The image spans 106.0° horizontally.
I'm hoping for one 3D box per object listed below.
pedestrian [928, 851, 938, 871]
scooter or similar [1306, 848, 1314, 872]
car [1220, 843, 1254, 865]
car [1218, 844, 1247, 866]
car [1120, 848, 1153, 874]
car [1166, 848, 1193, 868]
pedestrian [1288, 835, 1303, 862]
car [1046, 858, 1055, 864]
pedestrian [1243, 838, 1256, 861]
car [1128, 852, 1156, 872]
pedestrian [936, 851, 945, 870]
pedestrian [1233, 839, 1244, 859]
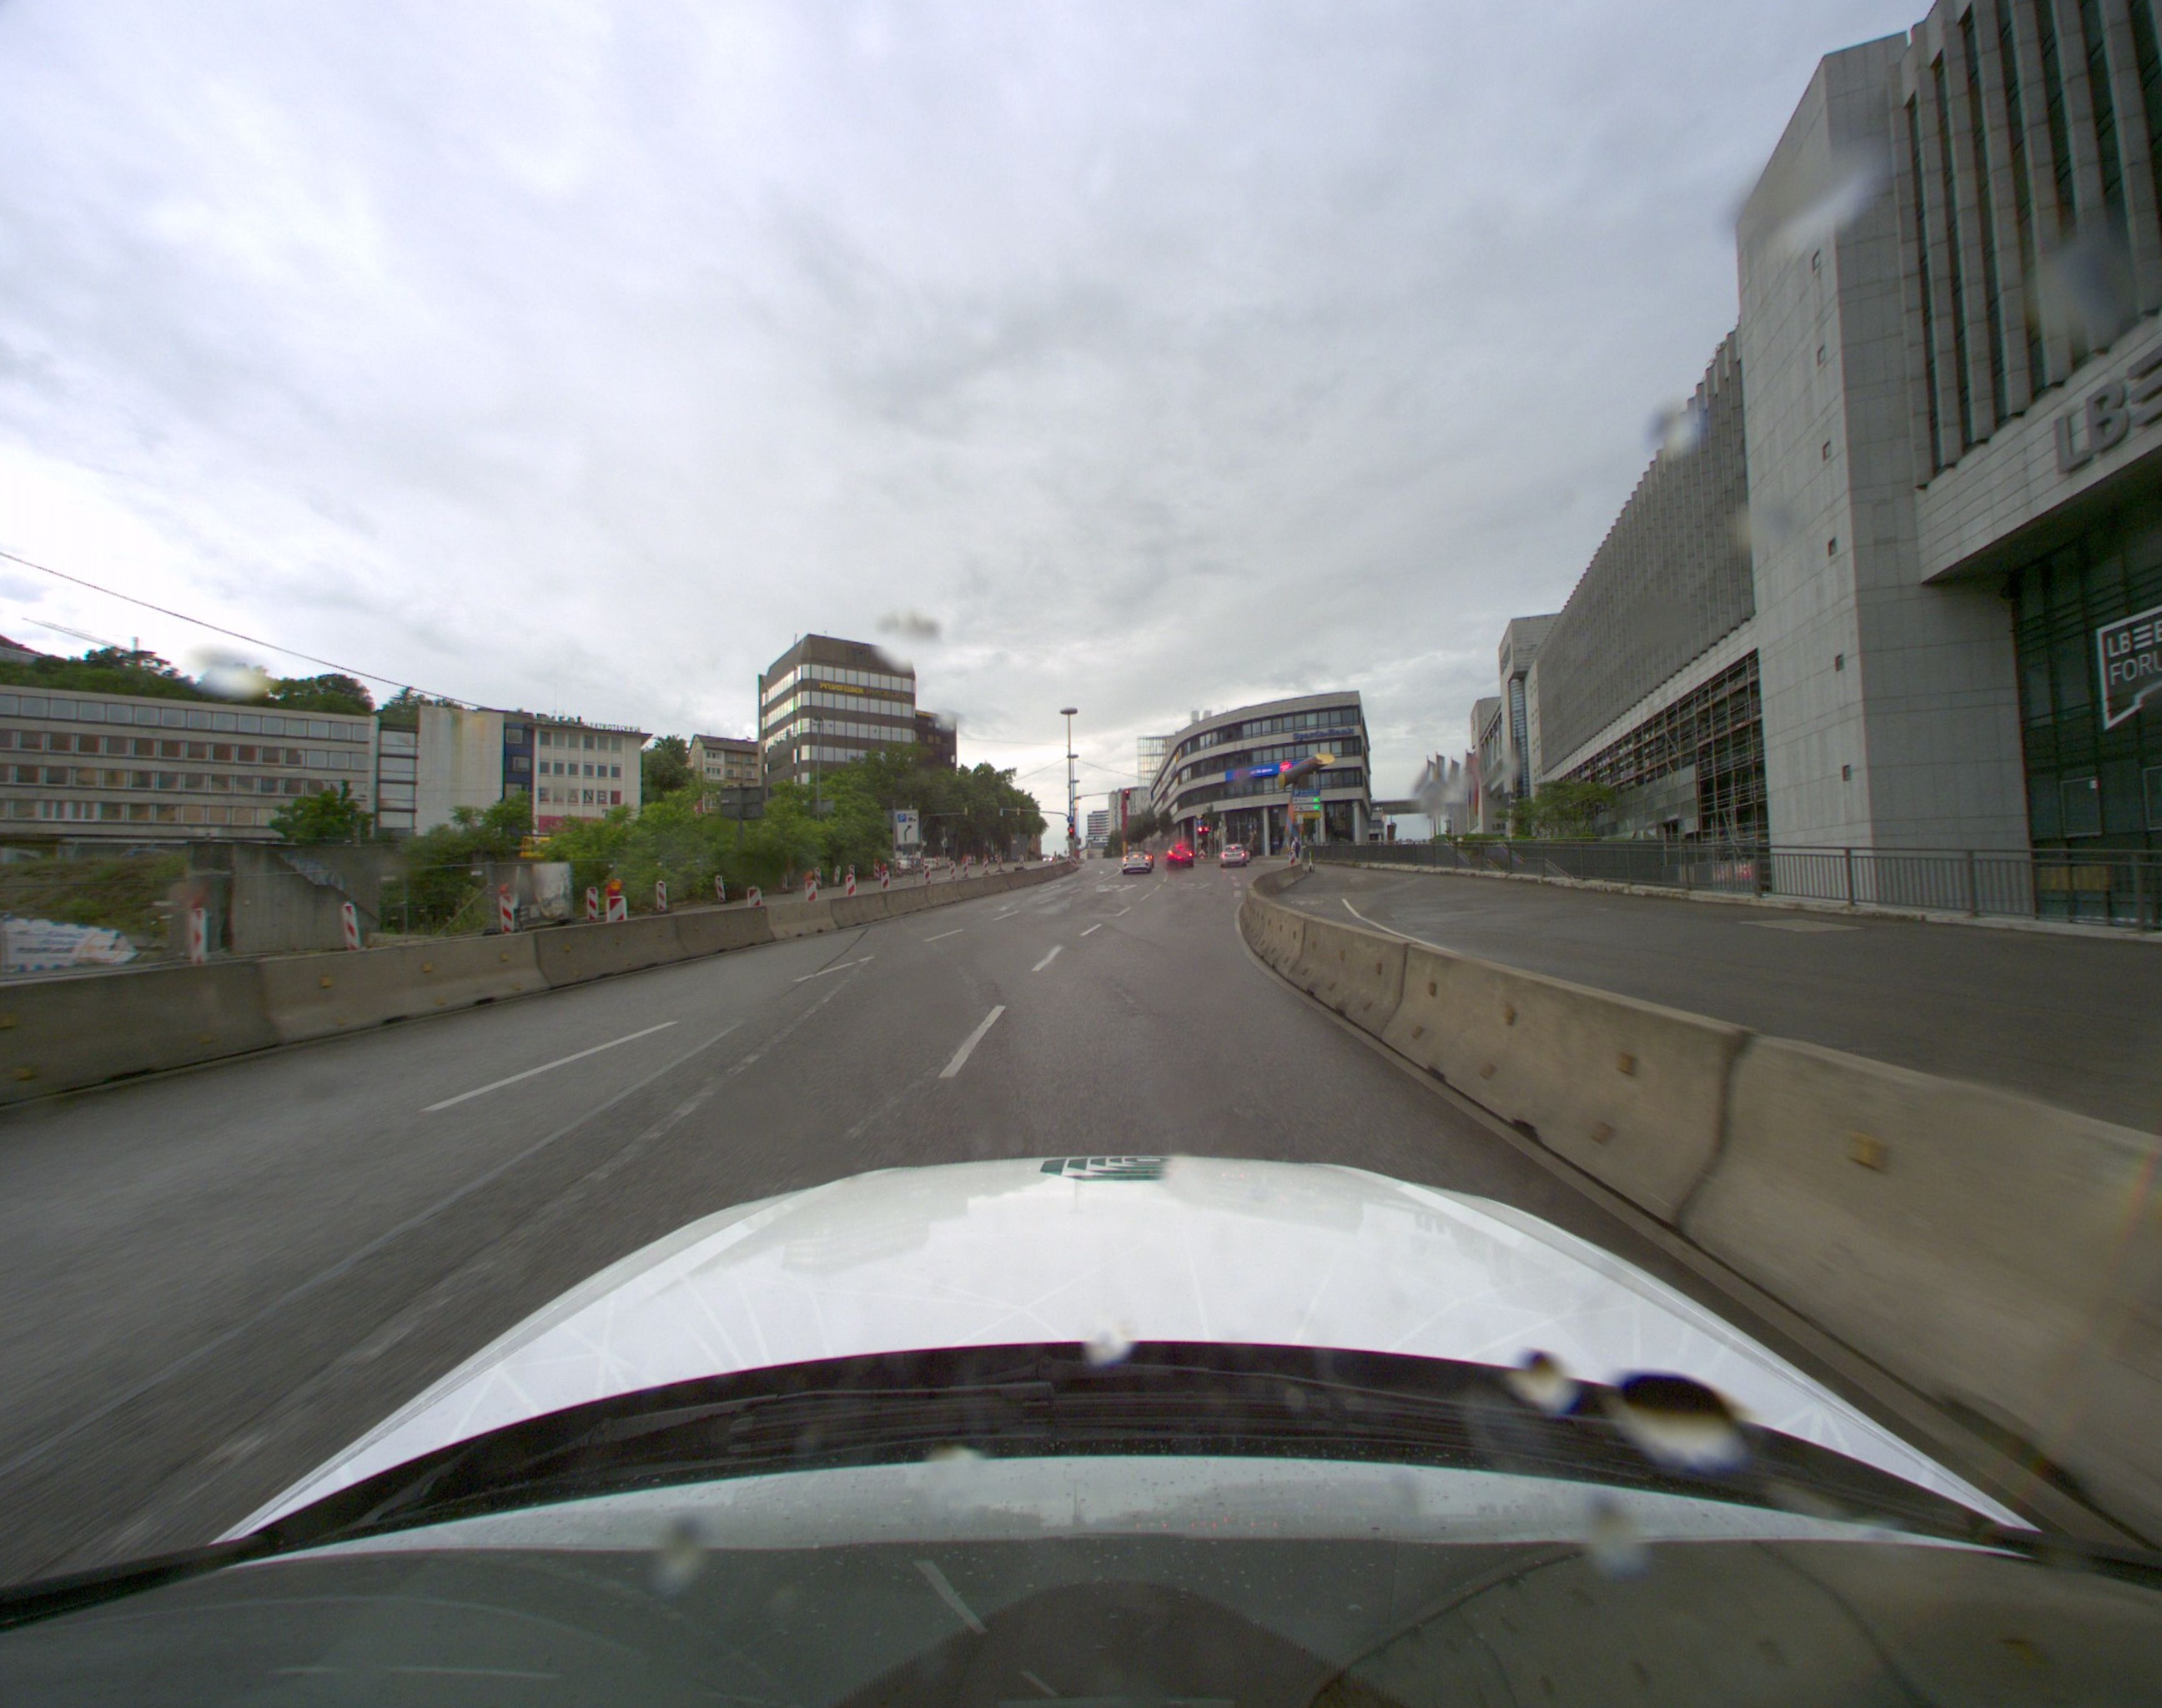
[{"bbox_3d":[-14.741,0.672,81.149,0.758,1.923,0.743,-1,-2,3],"label":"pedestrian"},{"bbox_3d":[11.469,0.291,40.861,0.346,1.162,0.575,-2,-1,16],"label":"scooter or similar"},{"bbox_3d":[12.231,-0.034,63.642,1.756,1.634,4.605,-2,0,21],"label":"car"},{"bbox_3d":[10.530,0.103,56.806,1.692,1.451,4.624,-1,-1,7],"label":"car"},{"bbox_3d":[3.656,0.427,52.790,1.954,1.548,4.226,-2,0,6],"label":"car"},{"bbox_3d":[7.168,0.308,59.451,1.747,1.407,4.232,0,-1,4],"label":"car"},{"bbox_3d":[14.084,-0.335,53.457,0.727,1.711,0.843,-1,-2,0],"label":"pedestrian"},{"bbox_3d":[-7.133,1.643,191.268,1.755,1.460,4.360,-3,0,0],"label":"car"},{"bbox_3d":[15.486,-0.409,74.751,0.856,2.098,0.898,0,0,-22],"label":"pedestrian"},{"bbox_3d":[4.566,0.564,61.342,1.735,1.443,3.997,0,0,-2],"label":"car"},{"bbox_3d":[-13.989,0.659,81.055,0.669,1.902,0.776,-1,-2,3],"label":"pedestrian"},{"bbox_3d":[15.410,-0.447,79.733,0.832,1.905,0.866,-2,-2,27],"label":"pedestrian"}]
